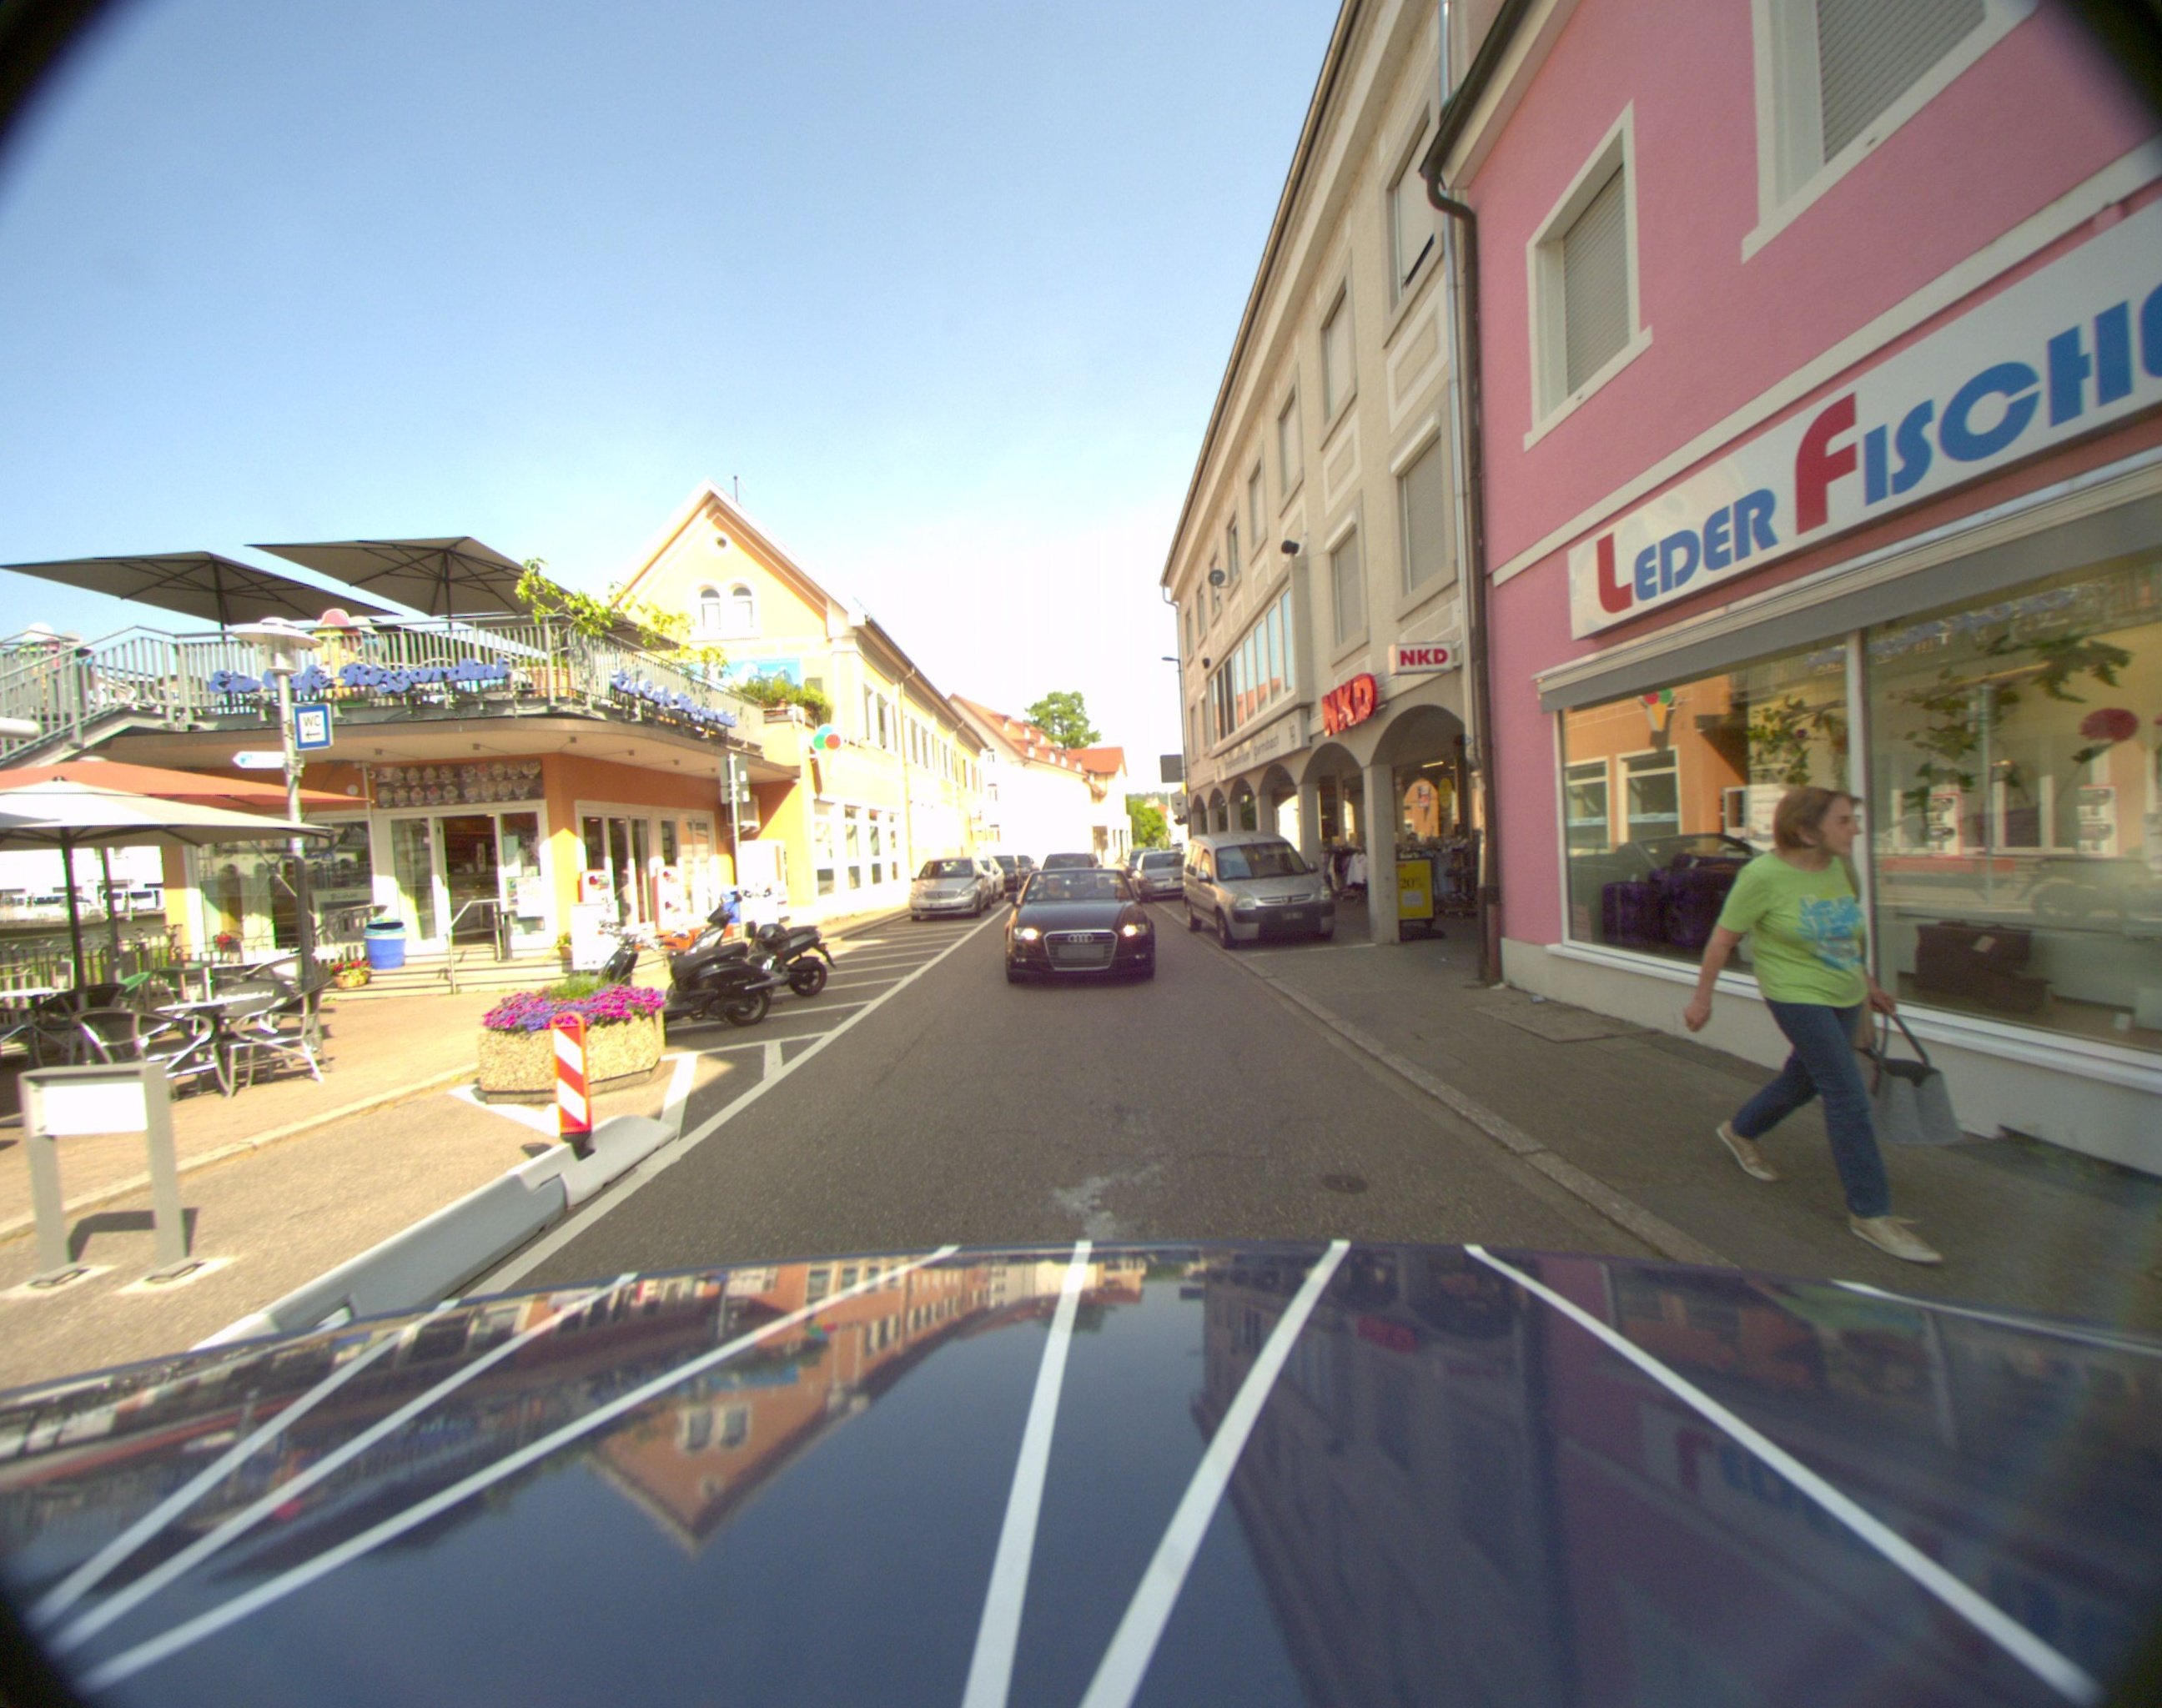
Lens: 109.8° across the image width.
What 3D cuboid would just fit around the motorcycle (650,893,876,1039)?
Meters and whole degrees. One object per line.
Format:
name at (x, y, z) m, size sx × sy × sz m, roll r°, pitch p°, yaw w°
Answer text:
motorcycle at (-3.504, 1.155, 8.482) m, size 2.094 × 1.263 × 0.926 m, roll -3°, pitch 1°, yaw -39°

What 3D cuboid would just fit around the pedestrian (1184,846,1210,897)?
pedestrian at (3.671, 0.548, 24.074) m, size 0.623 × 1.542 × 0.533 m, roll -4°, pitch 1°, yaw -9°

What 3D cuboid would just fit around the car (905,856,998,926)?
car at (-3.414, 0.905, 20.811) m, size 1.750 × 1.588 × 4.593 m, roll -3°, pitch 0°, yaw -1°

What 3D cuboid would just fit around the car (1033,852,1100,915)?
car at (-0.338, 0.770, 21.837) m, size 1.683 × 1.552 × 3.971 m, roll -3°, pitch 0°, yaw 1°

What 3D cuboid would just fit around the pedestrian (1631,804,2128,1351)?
pedestrian at (2.750, 0.689, 2.749) m, size 0.788 × 1.622 × 0.859 m, roll -5°, pitch 1°, yaw 2°

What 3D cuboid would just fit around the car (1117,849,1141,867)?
car at (4.466, 0.340, 70.075) m, size 1.681 × 1.552 × 3.344 m, roll -2°, pitch 1°, yaw 12°

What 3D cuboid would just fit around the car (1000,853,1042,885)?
car at (-3.049, 0.737, 39.423) m, size 1.683 × 1.531 × 4.186 m, roll -2°, pitch 0°, yaw 1°

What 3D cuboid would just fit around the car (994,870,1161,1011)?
car at (0.008, 0.975, 10.265) m, size 1.755 × 1.348 × 4.200 m, roll -2°, pitch 0°, yaw 1°

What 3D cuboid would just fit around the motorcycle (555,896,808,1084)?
motorcycle at (-3.655, 1.139, 7.008) m, size 1.903 × 1.350 × 0.915 m, roll -3°, pitch 1°, yaw -34°

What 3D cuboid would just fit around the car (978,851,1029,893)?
car at (-3.365, 0.743, 33.632) m, size 1.683 × 1.636 × 4.251 m, roll -2°, pitch 1°, yaw 1°

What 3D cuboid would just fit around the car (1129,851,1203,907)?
car at (2.551, 0.706, 23.819) m, size 1.807 × 1.462 × 4.454 m, roll -3°, pitch 0°, yaw 1°

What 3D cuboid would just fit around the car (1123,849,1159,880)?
car at (3.365, 0.564, 43.023) m, size 1.769 × 1.552 × 3.971 m, roll -3°, pitch 0°, yaw 1°

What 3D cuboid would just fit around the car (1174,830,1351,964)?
car at (2.772, 0.588, 12.601) m, size 1.711 × 1.729 × 4.145 m, roll -5°, pitch 1°, yaw -2°

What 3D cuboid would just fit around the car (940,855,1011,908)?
car at (-3.535, 0.891, 26.183) m, size 1.683 × 1.549 × 4.103 m, roll -3°, pitch 0°, yaw 1°

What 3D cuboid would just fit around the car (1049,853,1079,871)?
car at (-1.319, 0.635, 60.817) m, size 1.526 × 1.237 × 4.037 m, roll -2°, pitch 0°, yaw 11°
